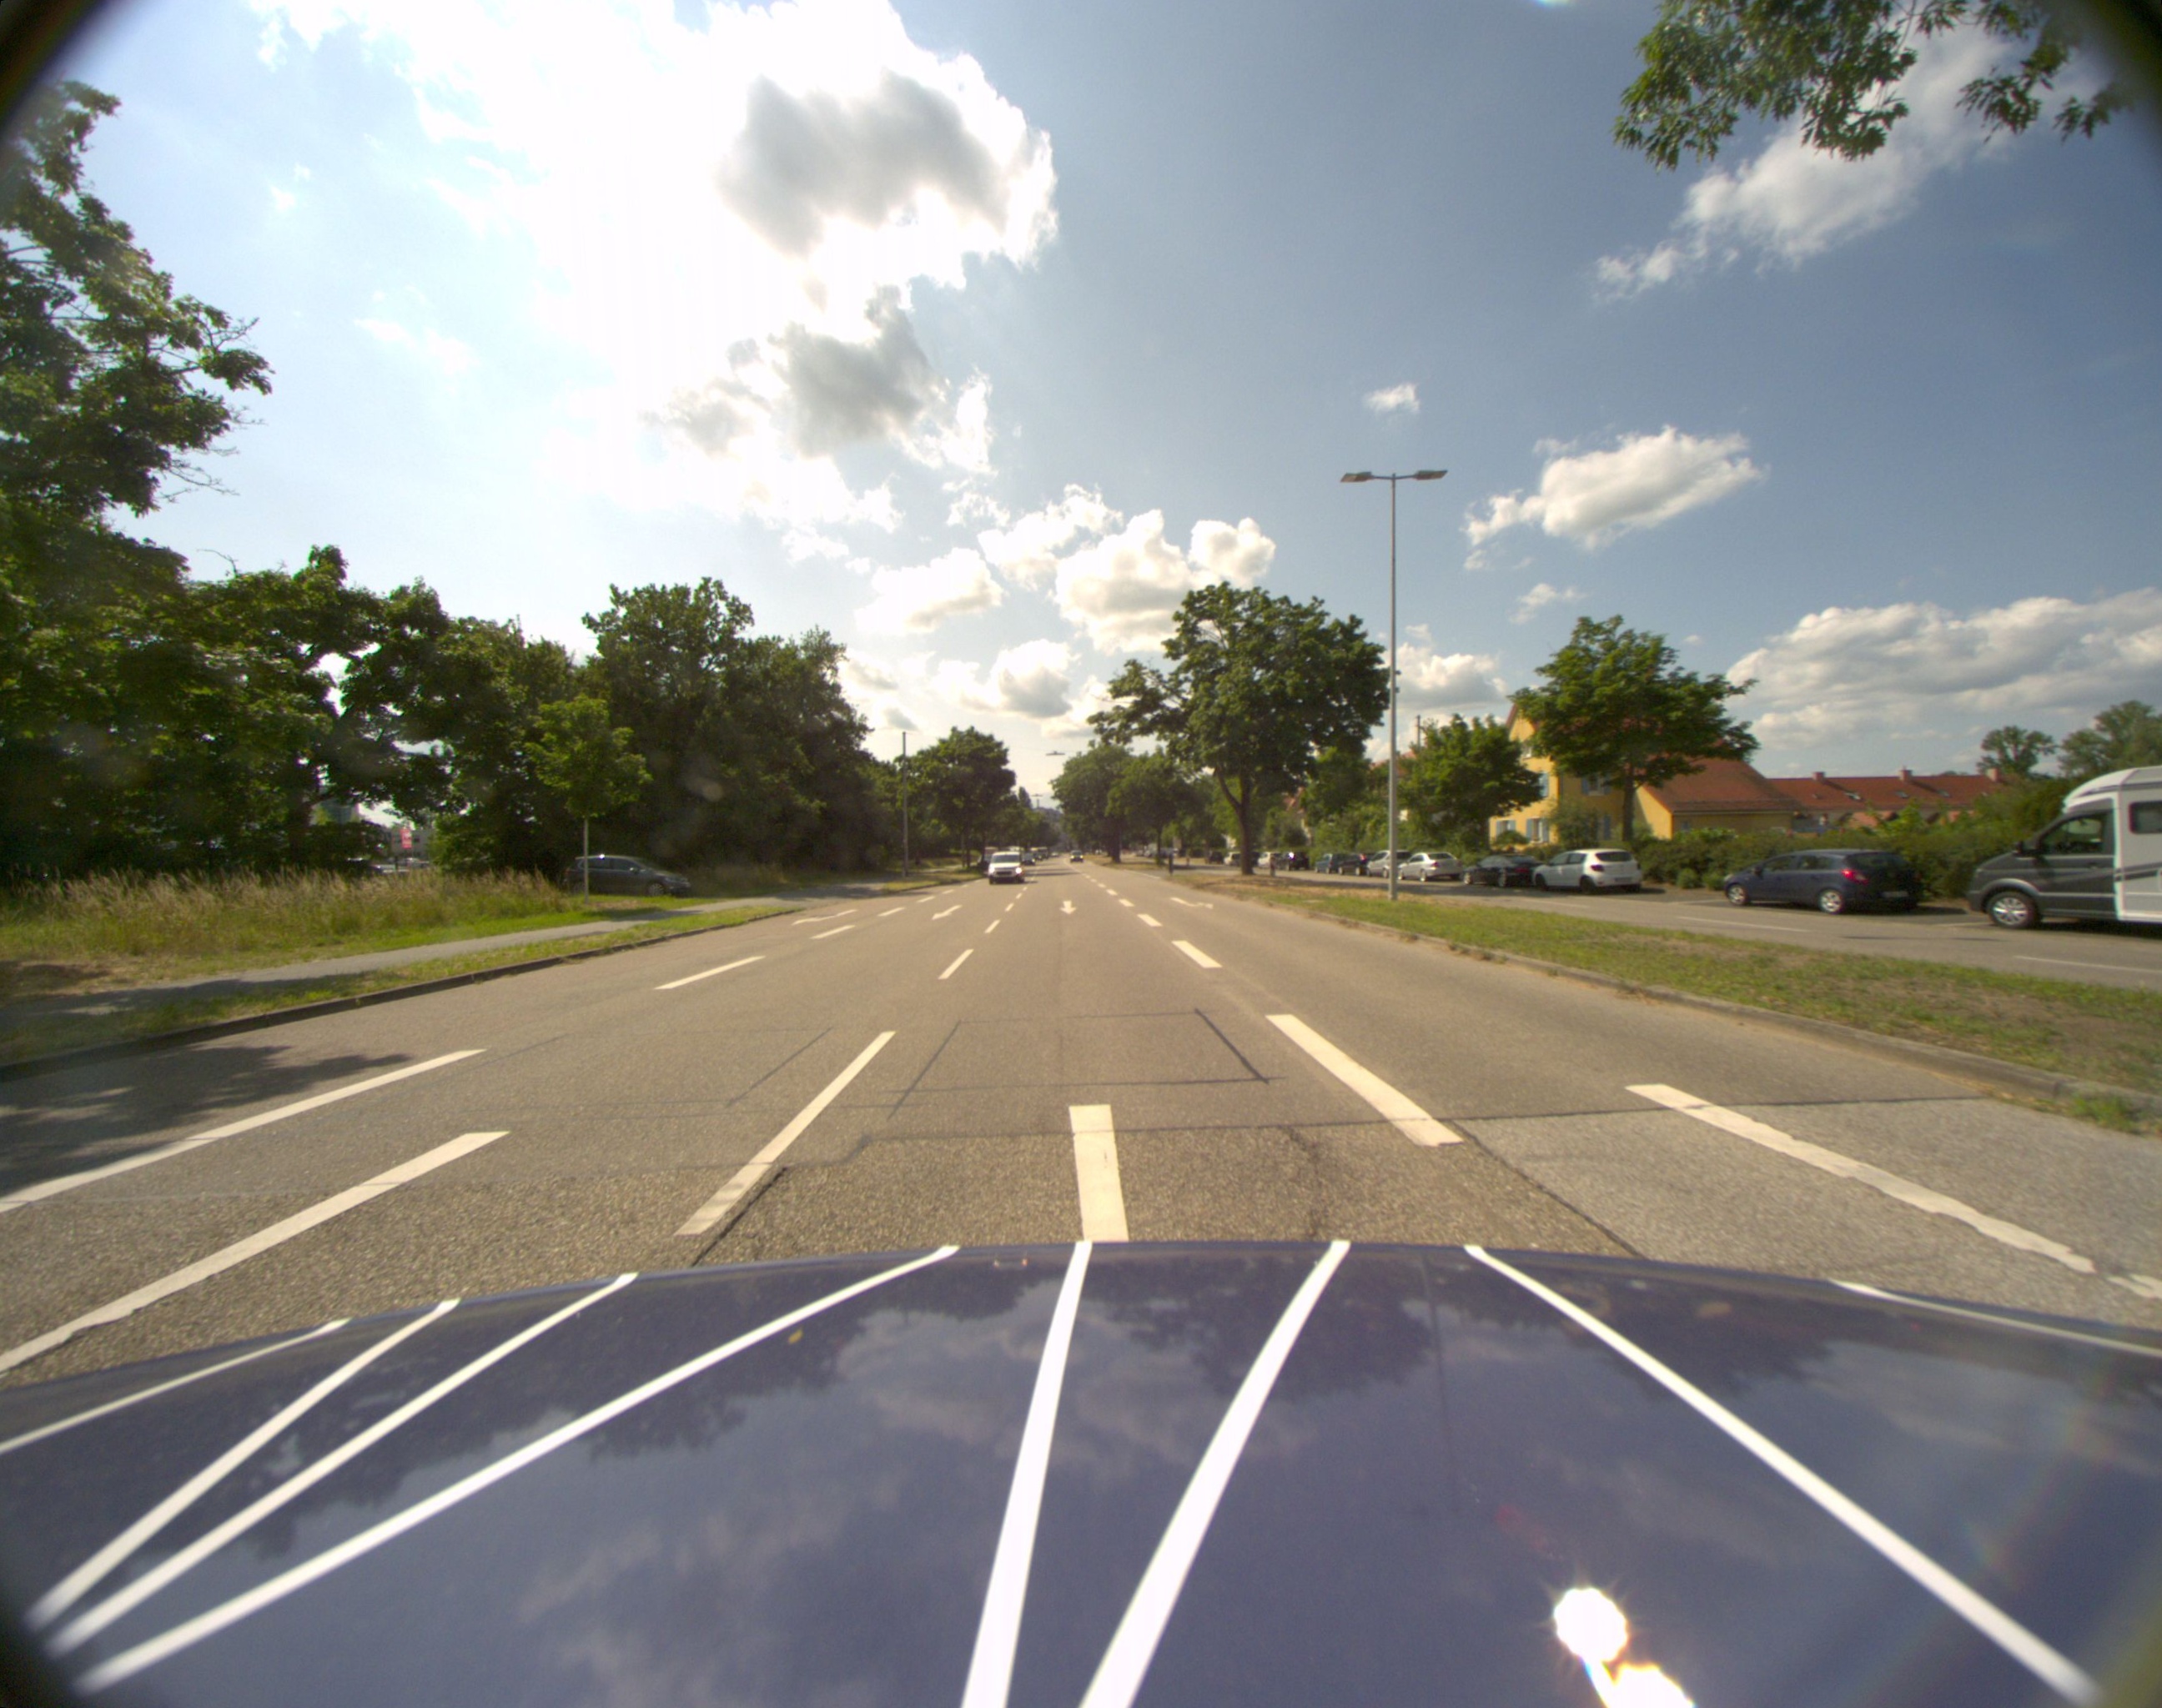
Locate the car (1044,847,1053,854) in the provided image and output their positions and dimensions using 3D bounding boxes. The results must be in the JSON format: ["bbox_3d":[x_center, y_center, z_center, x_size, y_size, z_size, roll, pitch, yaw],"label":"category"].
[{"bbox_3d":[-6.927,-0.705,161.332,1.892,1.281,3.998,-3,1,-2],"label":"car"}]

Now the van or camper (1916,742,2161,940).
[{"bbox_3d":[17.994,-0.259,11.662,2.264,3.094,7.320,-3,0,1],"label":"van or camper"}]

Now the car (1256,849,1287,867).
[{"bbox_3d":[17.358,0.333,69.521,1.665,1.443,3.845,-3,1,-2],"label":"car"}]

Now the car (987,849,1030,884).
[{"bbox_3d":[-4.042,0.682,42.972,1.936,1.775,4.715,-3,0,0],"label":"car"}]

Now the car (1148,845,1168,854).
[{"bbox_3d":[16.175,-0.928,159.802,3.997,1.502,1.799,-3,1,-1],"label":"car"}]

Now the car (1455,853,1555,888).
[{"bbox_3d":[17.868,0.637,32.289,1.640,1.299,4.583,-3,0,0],"label":"car"}]

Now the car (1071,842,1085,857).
[{"bbox_3d":[-0.388,-0.640,108.194,1.768,1.893,4.540,-3,1,0],"label":"car"}]

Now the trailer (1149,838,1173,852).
[{"bbox_3d":[18.075,-2.042,171.857,2.820,3.090,5.764,-3,1,37],"label":"trailer"}]

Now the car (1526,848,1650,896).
[{"bbox_3d":[17.975,0.578,27.197,1.693,1.477,4.123,-3,1,0],"label":"car"}]

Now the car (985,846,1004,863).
[{"bbox_3d":[-9.118,-0.002,80.044,1.595,1.681,4.360,0,1,-1],"label":"car"}]

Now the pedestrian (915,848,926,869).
[{"bbox_3d":[-13.932,0.381,65.865,0.719,1.784,0.739,-3,2,-2],"label":"pedestrian"}]

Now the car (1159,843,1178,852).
[{"bbox_3d":[17.501,-1.308,152.327,4.007,1.390,1.569,-4,2,-44],"label":"car"}]

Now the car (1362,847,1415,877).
[{"bbox_3d":[17.762,0.435,44.006,1.406,1.548,3.741,-3,1,-1],"label":"car"}]

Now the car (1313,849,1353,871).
[{"bbox_3d":[17.709,0.395,53.562,1.566,1.387,3.476,-3,1,-2],"label":"car"}]

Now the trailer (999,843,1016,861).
[{"bbox_3d":[-10.344,-0.317,107.063,1.999,2.352,4.780,3,1,-2],"label":"trailer"}]

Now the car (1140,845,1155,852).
[{"bbox_3d":[16.096,-1.266,184.928,1.668,1.456,3.827,-2,2,40],"label":"car"}]

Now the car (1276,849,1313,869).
[{"bbox_3d":[17.394,0.388,62.109,1.665,1.473,4.102,-3,0,-2],"label":"car"}]

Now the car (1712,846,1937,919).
[{"bbox_3d":[17.993,0.616,18.690,1.640,1.477,3.991,-3,1,0],"label":"car"}]

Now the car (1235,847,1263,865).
[{"bbox_3d":[16.953,0.194,76.897,1.665,1.603,4.312,-3,1,-2],"label":"car"}]

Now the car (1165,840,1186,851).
[{"bbox_3d":[18.125,-1.625,146.330,4.007,2.002,1.800,-4,2,-44],"label":"car"}]

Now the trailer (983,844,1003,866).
[{"bbox_3d":[-9.942,0.078,86.250,1.958,2.338,4.604,0,1,-3],"label":"trailer"}]

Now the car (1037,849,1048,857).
[{"bbox_3d":[-6.957,-0.239,137.782,1.892,1.281,3.998,-3,1,-2],"label":"car"}]

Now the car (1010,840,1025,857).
[{"bbox_3d":[-11.364,-1.045,136.042,2.262,2.787,6.765,1,1,-2],"label":"car"}]

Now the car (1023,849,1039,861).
[{"bbox_3d":[-6.284,0.104,96.149,1.892,1.281,3.998,-3,1,-2],"label":"car"}]

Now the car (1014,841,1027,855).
[{"bbox_3d":[-11.753,-1.244,148.870,2.262,2.526,6.765,1,1,-2],"label":"car"}]

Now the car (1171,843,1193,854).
[{"bbox_3d":[18.211,-0.916,136.604,4.008,1.849,1.800,-2,1,-44],"label":"car"}]

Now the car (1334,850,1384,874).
[{"bbox_3d":[17.660,0.473,48.486,1.406,1.387,4.355,-3,1,-1],"label":"car"}]

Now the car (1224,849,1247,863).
[{"bbox_3d":[16.935,0.216,83.192,1.598,1.453,3.533,-3,1,-2],"label":"car"}]

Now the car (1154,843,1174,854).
[{"bbox_3d":[16.874,-1.148,154.938,4.007,2.002,1.800,-4,2,-44],"label":"car"}]

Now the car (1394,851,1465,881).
[{"bbox_3d":[17.708,0.563,38.801,1.514,1.362,4.531,-3,0,0],"label":"car"}]

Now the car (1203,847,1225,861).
[{"bbox_3d":[16.421,-0.009,93.859,1.772,1.543,3.998,-3,1,-2],"label":"car"}]

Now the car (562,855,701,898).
[{"bbox_3d":[-17.131,0.864,29.107,4.175,1.484,1.784,2,-1,-5],"label":"car"}]

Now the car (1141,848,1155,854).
[{"bbox_3d":[16.893,-0.688,191.044,1.668,1.341,3.827,-2,2,40],"label":"car"}]
